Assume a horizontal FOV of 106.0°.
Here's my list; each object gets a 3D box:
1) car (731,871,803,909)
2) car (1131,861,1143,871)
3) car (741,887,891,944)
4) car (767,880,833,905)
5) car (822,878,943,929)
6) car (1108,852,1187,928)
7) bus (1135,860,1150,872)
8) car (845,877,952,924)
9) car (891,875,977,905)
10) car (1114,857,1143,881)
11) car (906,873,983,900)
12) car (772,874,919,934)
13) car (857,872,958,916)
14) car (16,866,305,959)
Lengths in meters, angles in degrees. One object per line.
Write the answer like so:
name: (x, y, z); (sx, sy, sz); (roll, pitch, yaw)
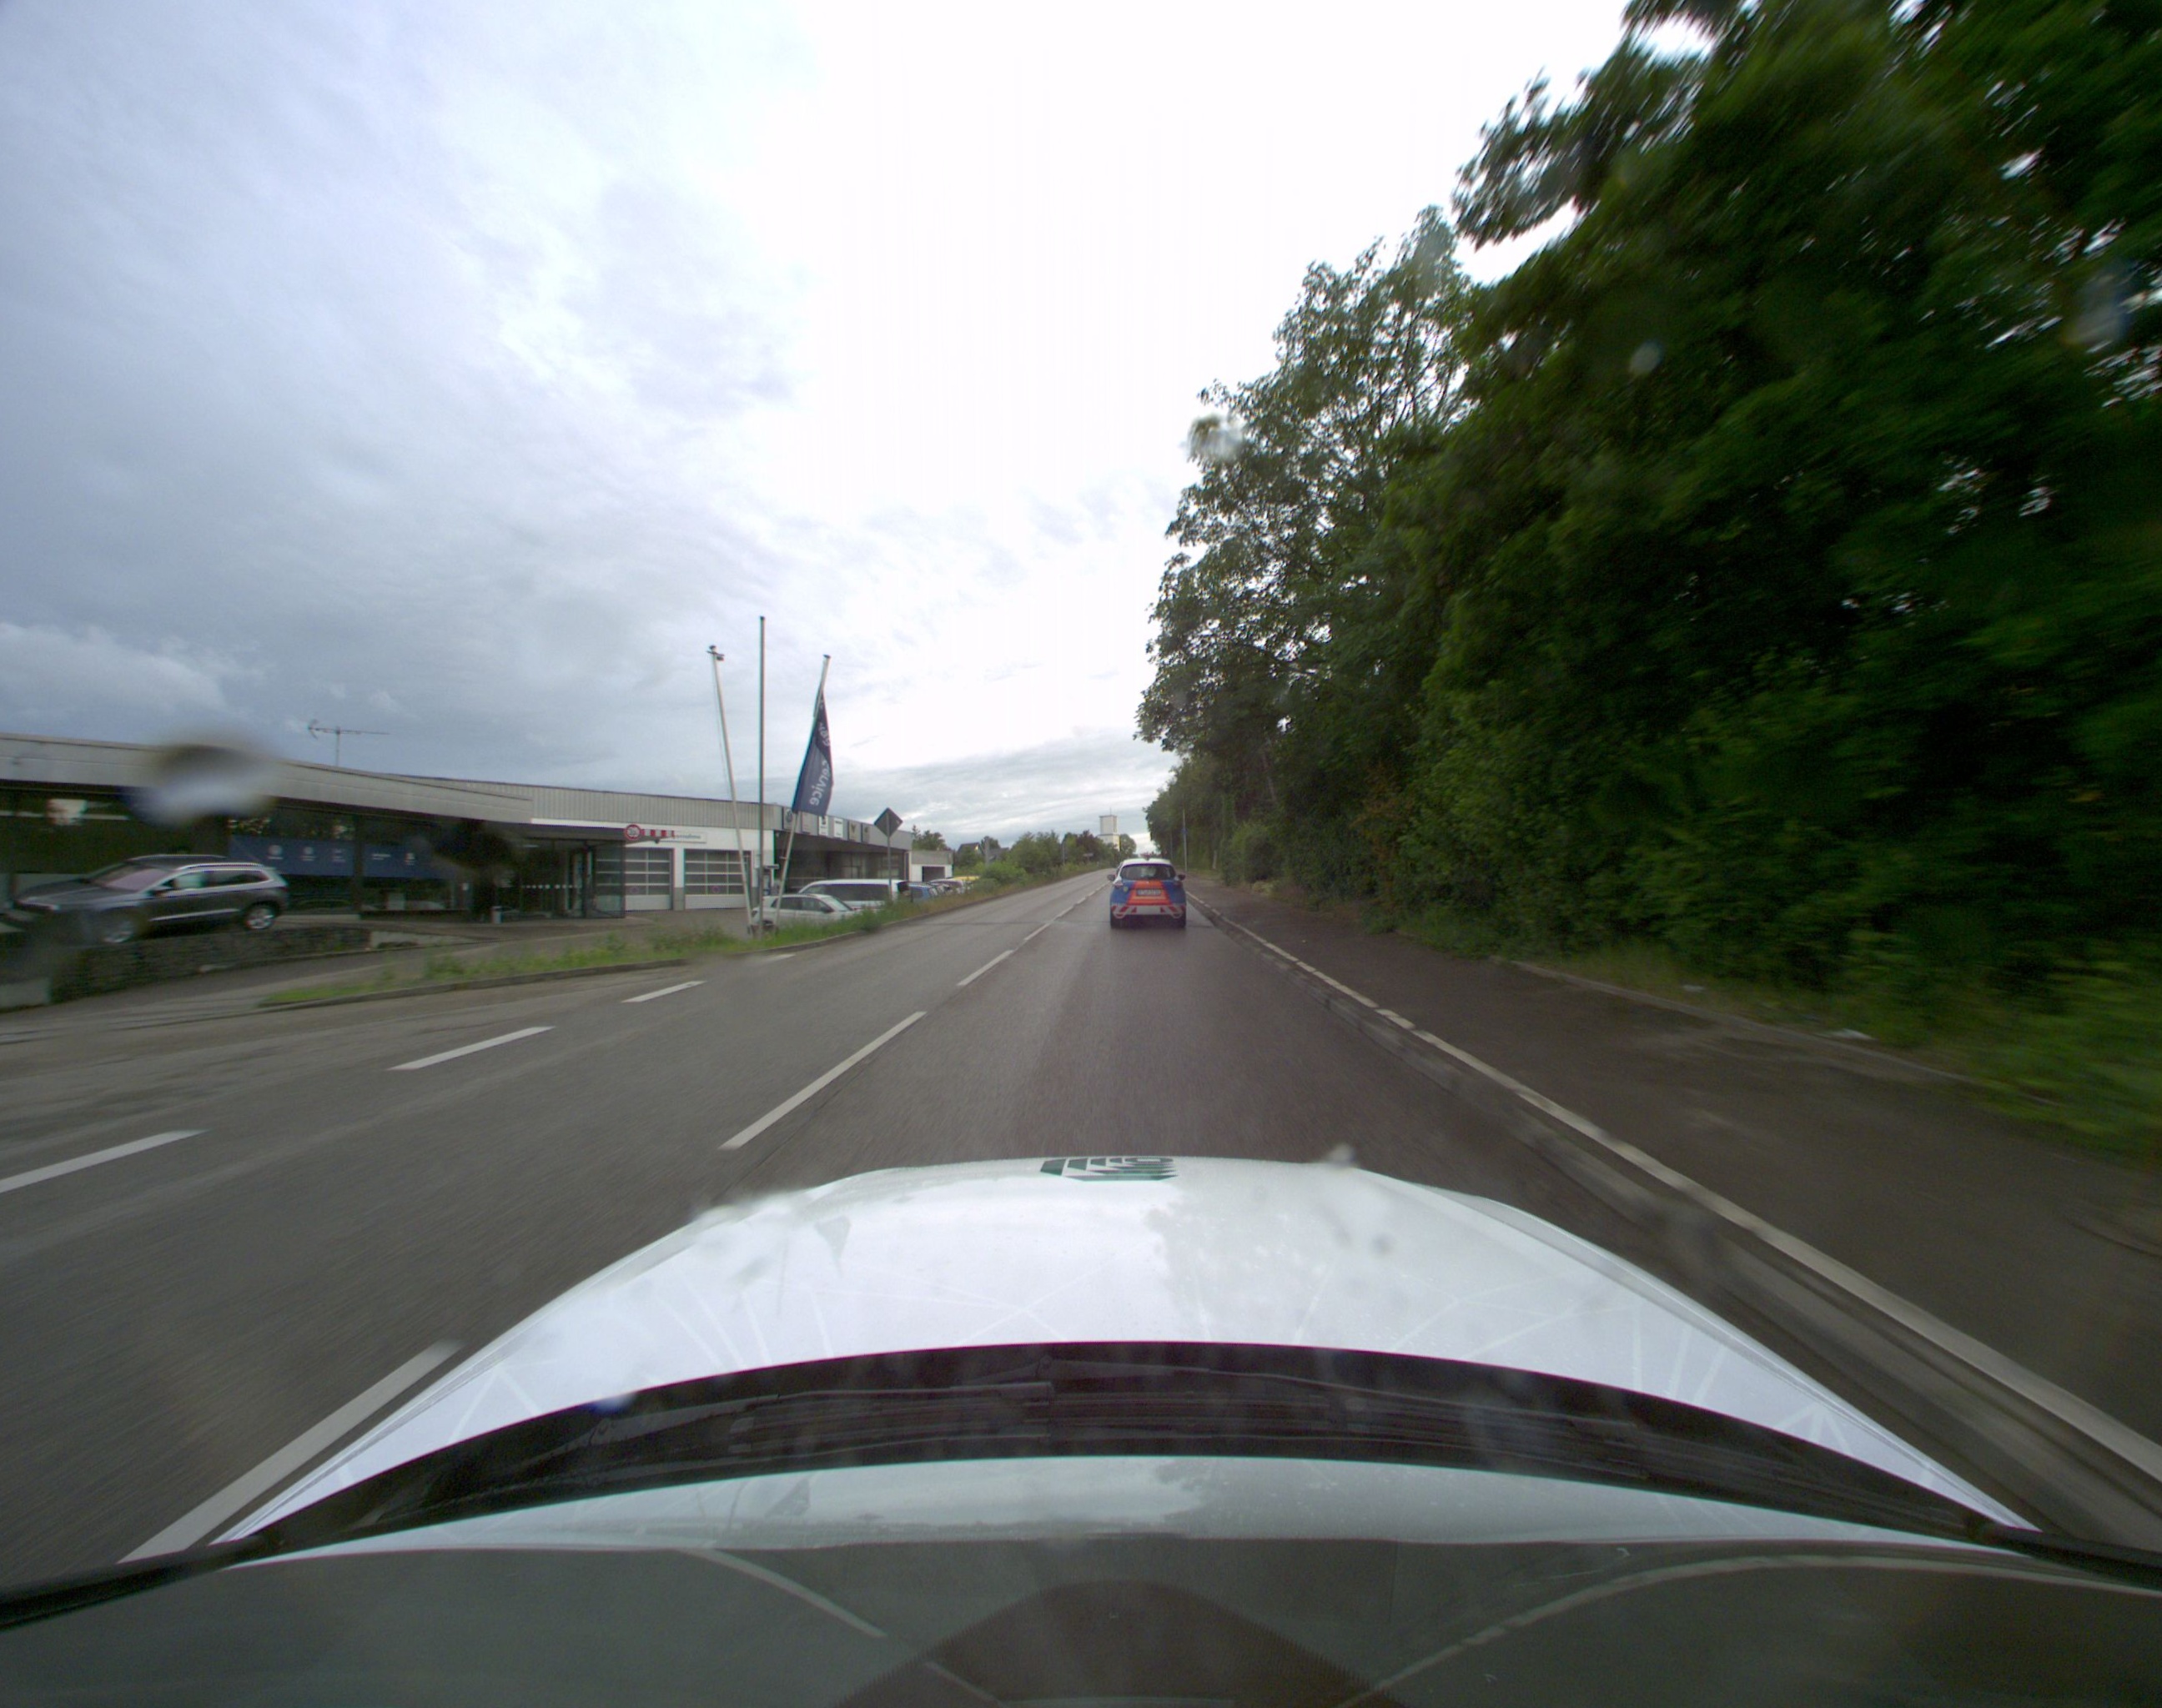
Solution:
car: (-19.031, 2.211, 49.279); (4.427, 1.960, 2.001); (-6, -3, 39)
car: (8.086, 1.769, 117.994); (1.608, 1.407, 3.498); (-3, -1, 1)
car: (-8.215, 1.887, 25.475); (3.993, 1.478, 1.825); (-3, 0, 2)
car: (-17.654, 2.401, 51.149); (3.970, 1.416, 1.966); (-3, -1, 37)
car: (-8.104, 2.008, 33.546); (4.398, 1.798, 2.002); (-3, -1, 0)
car: (1.557, 0.831, 19.362); (1.650, 1.593, 3.572); (-2, -2, 4)
bus: (16.944, 3.279, 225.244); (2.902, 3.170, 11.459); (-3, -1, -1)
car: (-7.972, 2.030, 35.898); (4.212, 1.798, 1.874); (-3, -1, 0)
car: (-7.918, 1.939, 44.050); (4.212, 1.368, 1.874); (-3, 0, 0)
car: (3.416, 1.084, 59.392); (1.797, 1.590, 3.561); (-3, -1, -1)
car: (-7.796, 1.869, 46.730); (4.049, 1.291, 1.804); (-3, 0, 0)
car: (-8.054, 1.694, 28.136); (4.395, 1.798, 1.935); (-3, -1, 2)
car: (-8.007, 1.828, 37.946); (4.212, 1.798, 1.874); (-3, -1, 0)
car: (-20.349, 1.200, 18.324); (1.392, 1.800, 4.258); (-3, -1, 6)
